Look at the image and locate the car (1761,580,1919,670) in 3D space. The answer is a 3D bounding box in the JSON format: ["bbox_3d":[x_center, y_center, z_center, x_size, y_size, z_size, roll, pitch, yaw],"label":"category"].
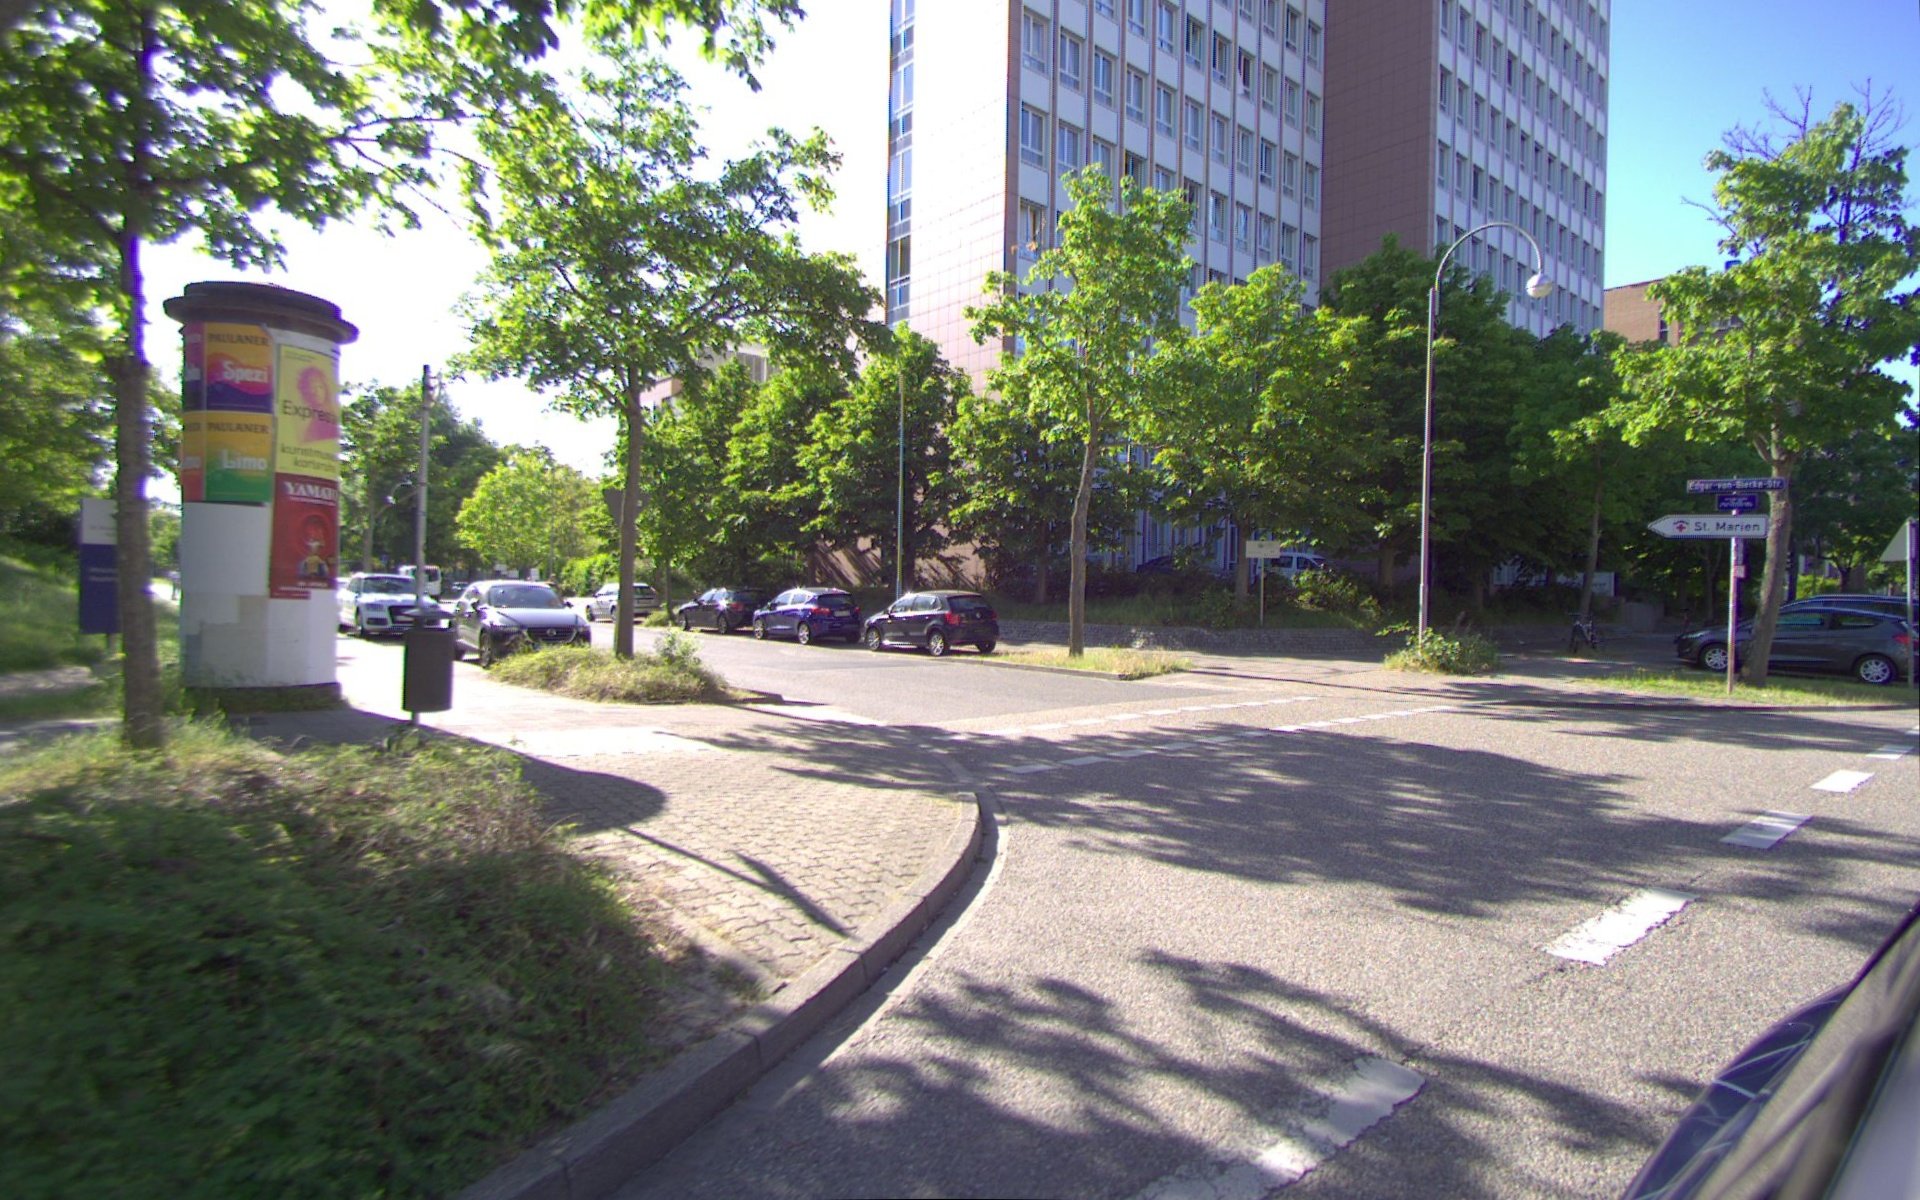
[{"bbox_3d":[19.958,0.520,21.980,1.693,1.772,3.683,0,2,-38],"label":"car"}]

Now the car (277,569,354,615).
[{"bbox_3d":[-23.524,-0.302,36.878,1.803,1.563,4.012,0,1,-41],"label":"car"}]

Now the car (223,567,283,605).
[{"bbox_3d":[-35.046,-0.692,50.135,1.965,1.822,4.443,0,1,-41],"label":"car"}]

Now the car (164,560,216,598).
[{"bbox_3d":[-43.178,-1.159,56.718,1.966,2.039,3.992,0,0,-43],"label":"car"}]

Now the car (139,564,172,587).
[{"bbox_3d":[-75.737,-2.288,95.275,3.988,2.039,1.968,1,0,44],"label":"car"}]

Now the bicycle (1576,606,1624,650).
[{"bbox_3d":[15.358,0.660,24.260,1.920,1.006,0.303,0,0,-37],"label":"bicycle"}]

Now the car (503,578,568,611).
[{"bbox_3d":[-20.009,-0.273,47.595,1.737,1.442,3.868,0,1,-40],"label":"car"}]

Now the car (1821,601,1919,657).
[{"bbox_3d":[28.545,0.872,29.981,1.827,1.573,4.428,1,1,-41],"label":"car"}]

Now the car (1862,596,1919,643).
[{"bbox_3d":[33.266,0.693,34.240,1.656,1.569,3.975,1,1,-44],"label":"car"}]

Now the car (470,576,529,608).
[{"bbox_3d":[-23.314,-0.416,51.171,1.618,1.572,3.992,0,1,-42],"label":"car"}]

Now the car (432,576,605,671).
[{"bbox_3d":[-8.227,0.355,18.679,1.803,1.550,3.994,1,1,-41],"label":"car"}]

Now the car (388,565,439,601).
[{"bbox_3d":[-34.958,-1.089,64.701,1.966,2.208,3.993,0,0,-42],"label":"car"}]

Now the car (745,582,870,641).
[{"bbox_3d":[-4.251,0.270,27.833,1.621,1.487,3.851,0,1,-40],"label":"car"}]

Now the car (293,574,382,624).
[{"bbox_3d":[-20.086,-0.062,32.570,1.803,1.520,4.012,0,1,-41],"label":"car"}]

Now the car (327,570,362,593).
[{"bbox_3d":[-52.052,-1.555,85.560,1.965,1.896,3.994,0,1,-41],"label":"car"}]

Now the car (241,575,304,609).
[{"bbox_3d":[-31.172,-0.363,45.845,1.888,1.464,3.994,0,1,-41],"label":"car"}]

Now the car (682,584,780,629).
[{"bbox_3d":[-7.236,0.163,31.816,1.525,1.321,3.498,0,1,-41],"label":"car"}]

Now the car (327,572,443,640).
[{"bbox_3d":[-15.118,0.118,26.505,1.803,1.639,4.452,0,1,-41],"label":"car"}]

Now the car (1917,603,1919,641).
[{"bbox_3d":[38.940,0.935,38.674,1.559,1.497,3.206,0,2,-36],"label":"car"}]

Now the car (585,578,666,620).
[{"bbox_3d":[-12.716,-0.063,38.326,1.680,1.512,3.767,0,1,-40],"label":"car"}]

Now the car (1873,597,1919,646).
[{"bbox_3d":[31.584,0.746,32.185,1.694,1.525,3.580,0,3,-41],"label":"car"}]

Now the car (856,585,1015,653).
[{"bbox_3d":[-0.662,0.377,24.225,1.738,1.466,3.996,-1,1,-39],"label":"car"}]

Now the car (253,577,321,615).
[{"bbox_3d":[-27.497,-0.187,41.315,1.803,1.495,4.012,0,1,-41],"label":"car"}]

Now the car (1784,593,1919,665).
[{"bbox_3d":[22.831,0.701,24.802,1.780,1.584,3.873,0,3,-45],"label":"car"}]

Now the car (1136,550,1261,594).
[{"bbox_3d":[8.765,-1.037,37.422,4.225,1.525,1.697,2,1,44],"label":"car"}]

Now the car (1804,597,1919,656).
[{"bbox_3d":[26.218,0.746,28.312,1.694,1.499,3.719,0,3,-40],"label":"car"}]

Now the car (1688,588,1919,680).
[{"bbox_3d":[17.515,0.655,20.805,1.565,1.464,3.842,3,3,-43],"label":"car"}]

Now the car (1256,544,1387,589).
[{"bbox_3d":[14.709,-1.354,41.417,1.844,1.707,4.720,1,1,-44],"label":"car"}]
